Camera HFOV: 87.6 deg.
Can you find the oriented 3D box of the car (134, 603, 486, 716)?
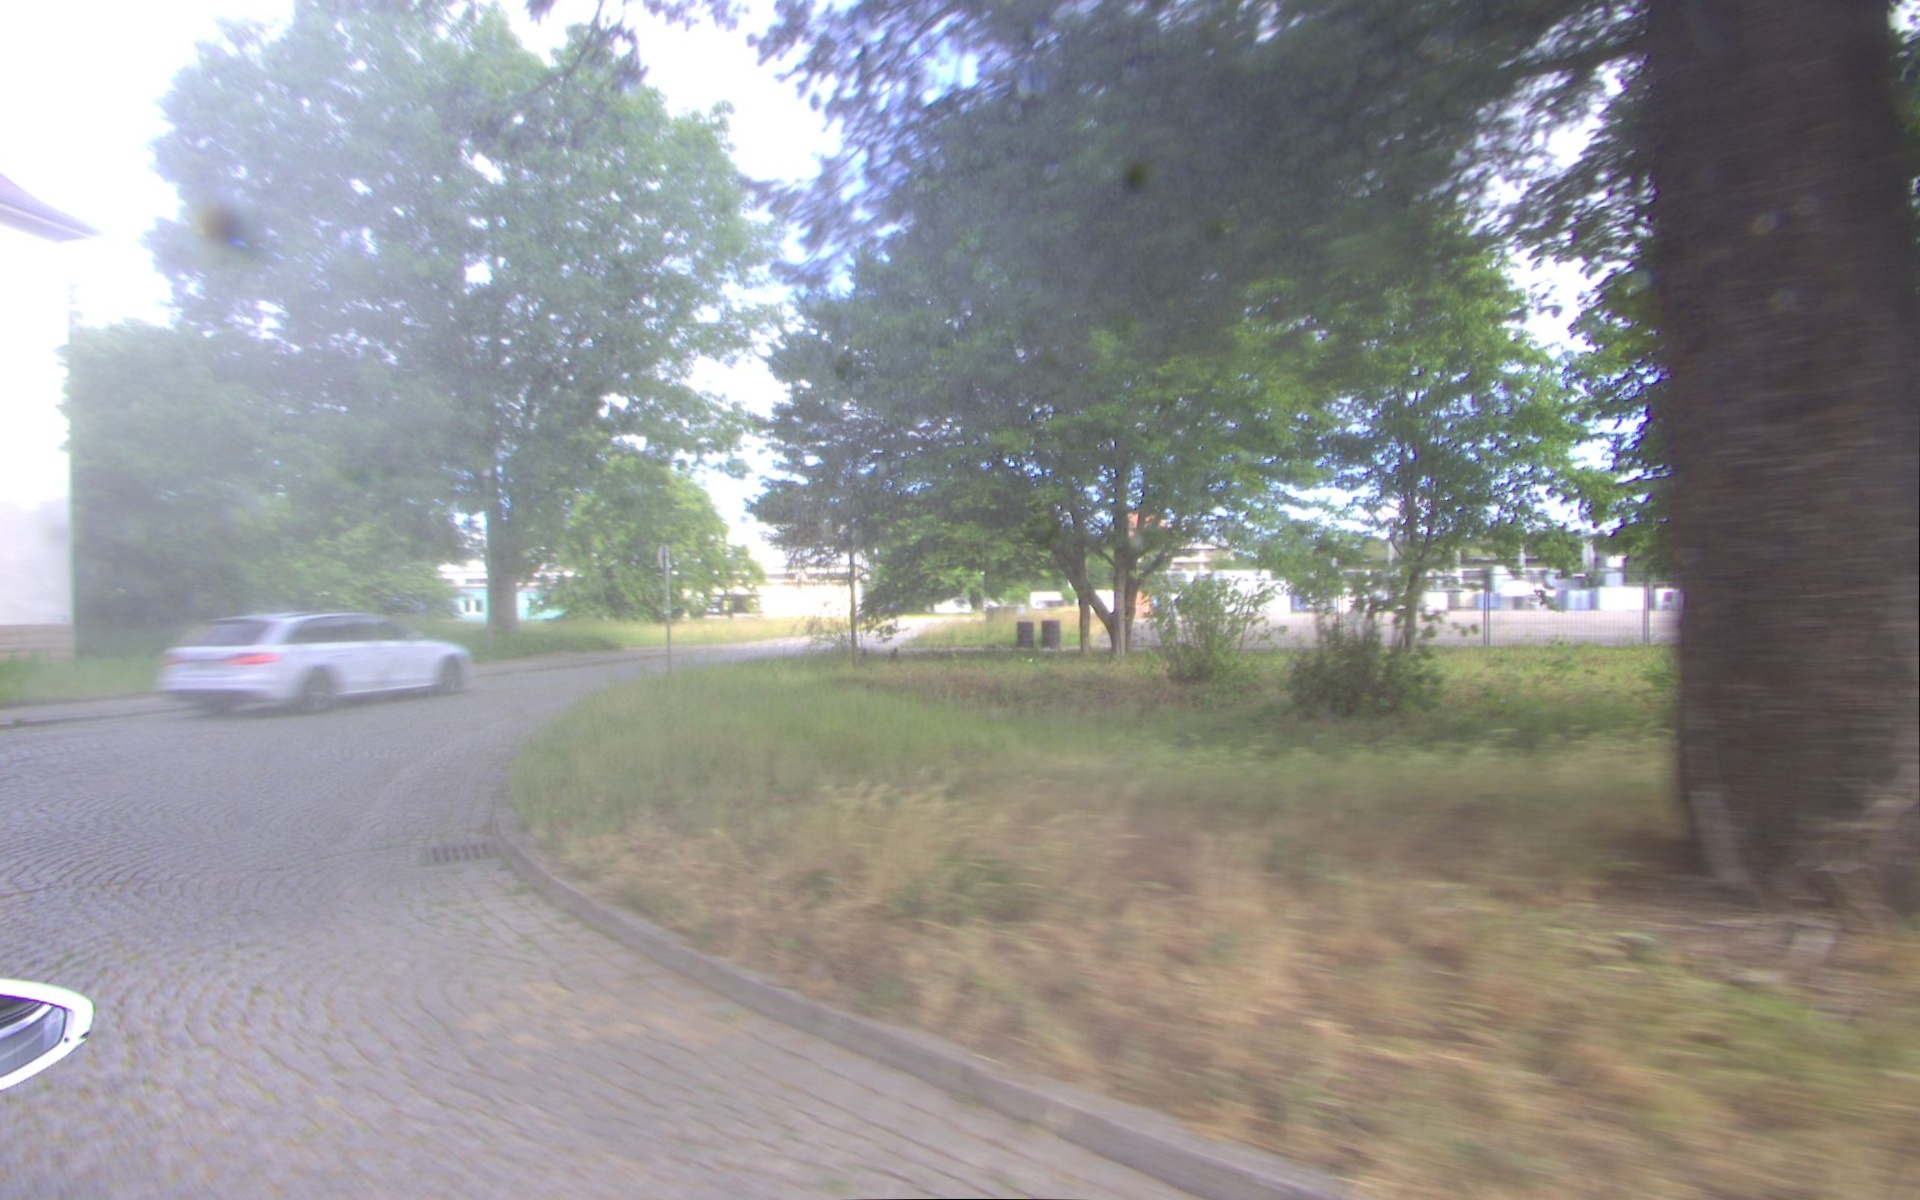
[{"bbox_3d":[-9.602,0.796,15.384,1.819,1.456,4.703,-1,0,10],"label":"car"}]
